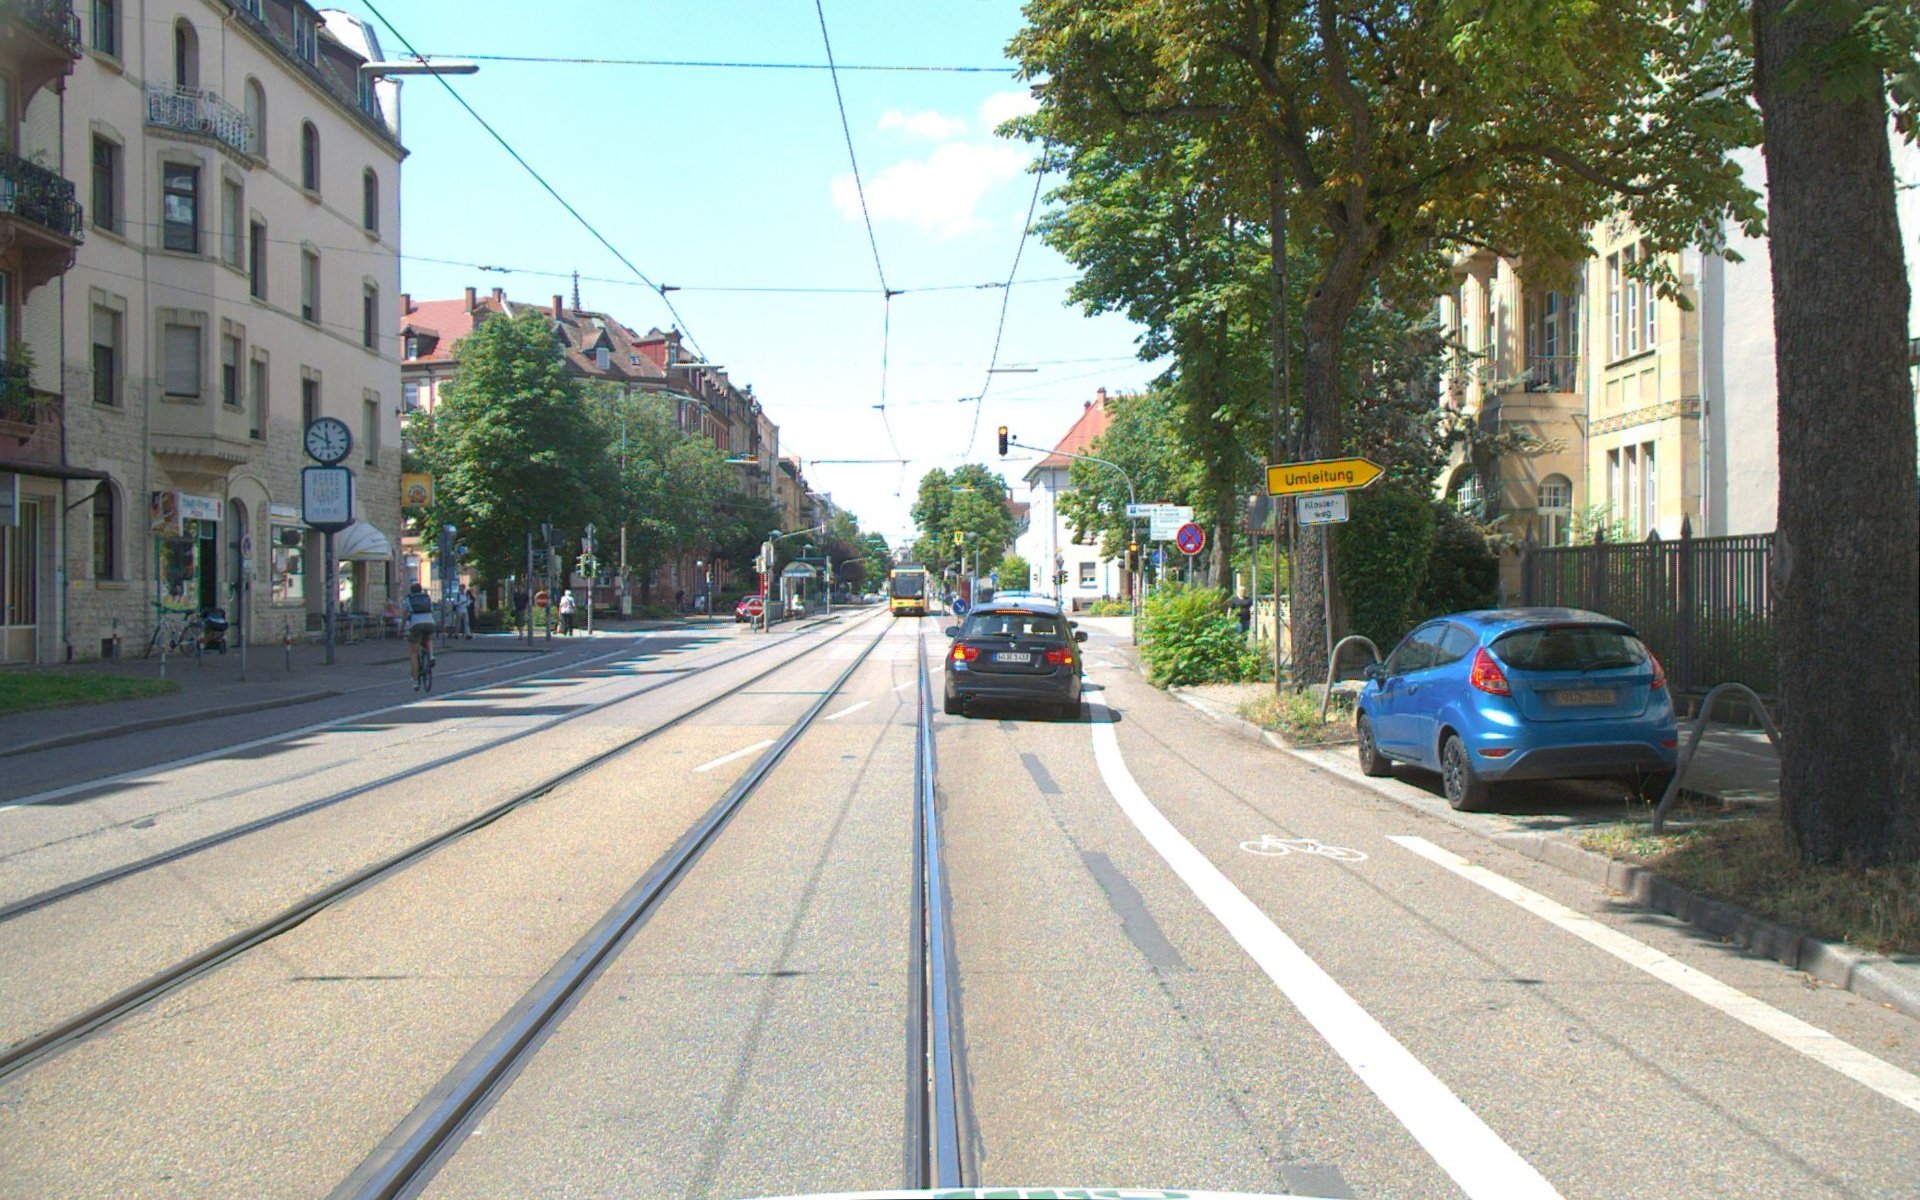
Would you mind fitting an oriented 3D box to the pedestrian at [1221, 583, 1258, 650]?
[{"bbox_3d":[7.056,0.415,41.757,0.838,1.674,0.837,-1,0,6],"label":"pedestrian"}]

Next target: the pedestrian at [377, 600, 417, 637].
[{"bbox_3d":[-17.143,0.552,50.383,0.897,1.096,0.883,0,0,0],"label":"pedestrian"}]

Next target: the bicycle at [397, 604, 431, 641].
[{"bbox_3d":[-17.810,0.743,53.917,0.539,1.148,1.659,0,-2,-38],"label":"bicycle"}]

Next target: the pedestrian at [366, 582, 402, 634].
[{"bbox_3d":[-18.172,0.243,52.204,0.898,1.622,0.808,0,0,-5],"label":"pedestrian"}]

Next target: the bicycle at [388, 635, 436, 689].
[{"bbox_3d":[-9.226,1.032,27.898,0.740,0.832,1.811,0,0,-18],"label":"bicycle"}]

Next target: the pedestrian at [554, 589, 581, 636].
[{"bbox_3d":[-14.625,0.460,61.628,0.899,1.753,0.838,0,0,-10],"label":"pedestrian"}]

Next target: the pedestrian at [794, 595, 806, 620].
[{"bbox_3d":[-8.320,0.389,85.941,0.602,1.264,0.627,0,0,-7],"label":"pedestrian"}]

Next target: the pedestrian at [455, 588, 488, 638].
[{"bbox_3d":[-16.535,0.429,55.978,0.843,1.664,1.026,0,0,-2],"label":"pedestrian"}]

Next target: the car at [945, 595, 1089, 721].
[{"bbox_3d":[0.762,0.690,22.168,1.687,1.433,4.566,2,0,2],"label":"car"}]

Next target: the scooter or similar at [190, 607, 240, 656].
[{"bbox_3d":[-16.894,0.706,37.506,0.690,1.062,1.191,2,-1,-42],"label":"scooter or similar"}]

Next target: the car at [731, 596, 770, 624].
[{"bbox_3d":[-11.420,0.519,90.502,1.787,1.438,4.426,-2,0,-3],"label":"car"}]

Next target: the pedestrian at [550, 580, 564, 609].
[{"bbox_3d":[-26.277,-0.364,107.789,0.731,1.843,0.633,0,0,-35],"label":"pedestrian"}]

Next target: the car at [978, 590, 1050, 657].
[{"bbox_3d":[1.348,0.551,40.982,1.656,1.540,3.822,2,0,2],"label":"car"}]

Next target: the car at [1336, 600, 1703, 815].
[{"bbox_3d":[4.434,0.767,13.703,1.643,1.468,3.719,-1,0,-2],"label":"car"}]

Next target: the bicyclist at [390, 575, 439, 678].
[{"bbox_3d":[-9.192,0.440,27.886,0.744,1.692,0.826,1,-1,-19],"label":"bicyclist"}]

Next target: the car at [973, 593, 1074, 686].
[{"bbox_3d":[1.078,0.646,29.250,1.650,1.510,3.685,0,0,1],"label":"car"}]

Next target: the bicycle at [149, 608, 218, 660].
[{"bbox_3d":[-16.666,0.736,35.511,0.362,1.084,1.465,1,-1,22],"label":"bicycle"}]

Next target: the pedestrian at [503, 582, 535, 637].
[{"bbox_3d":[-15.697,0.342,58.890,0.882,1.924,1.164,0,0,-2],"label":"pedestrian"}]

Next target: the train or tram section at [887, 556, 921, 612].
[{"bbox_3d":[-3.680,-1.045,109.947,2.146,3.543,8.842,0,0,-2],"label":"train or tram section"}]

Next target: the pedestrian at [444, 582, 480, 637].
[{"bbox_3d":[-16.001,0.303,53.138,0.848,1.763,0.770,1,0,43],"label":"pedestrian"}]

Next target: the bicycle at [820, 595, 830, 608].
[{"bbox_3d":[-11.696,0.124,143.261,0.714,1.121,1.715,0,0,-2],"label":"bicycle"}]
